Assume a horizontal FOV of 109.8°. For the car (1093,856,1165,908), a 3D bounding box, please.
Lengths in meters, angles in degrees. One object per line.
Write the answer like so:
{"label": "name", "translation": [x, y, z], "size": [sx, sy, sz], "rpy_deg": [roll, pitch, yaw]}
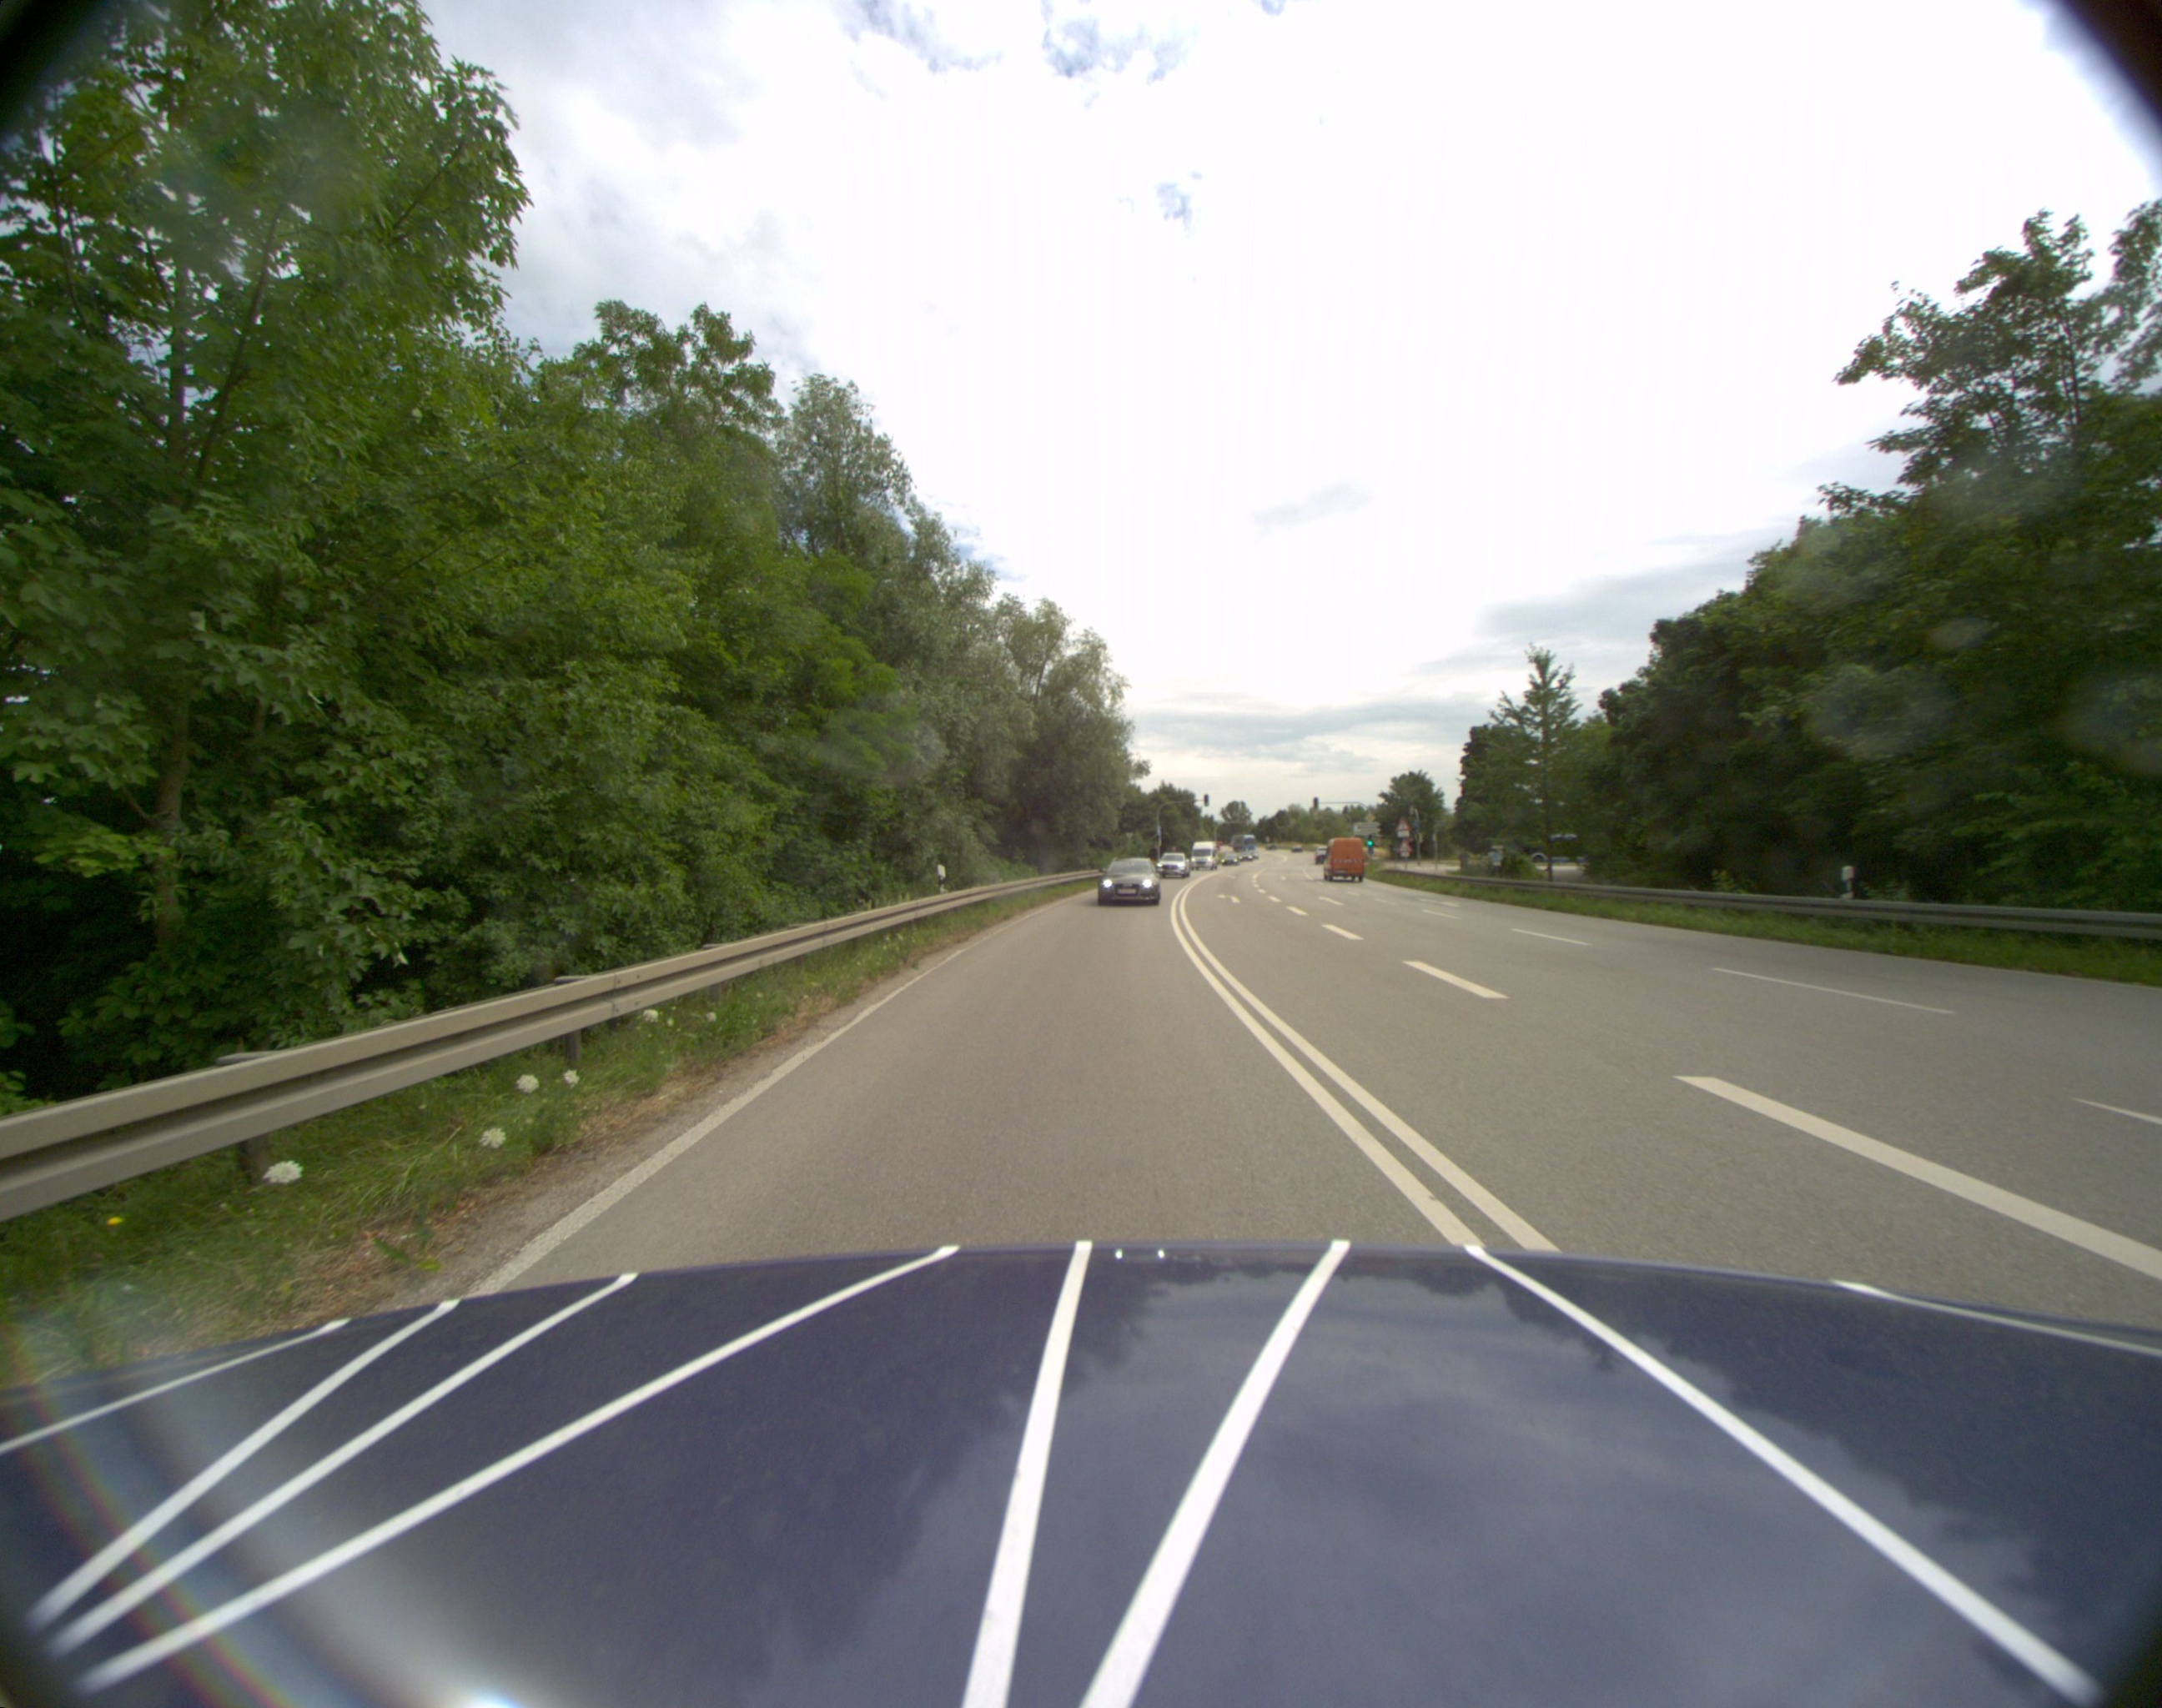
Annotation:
{"label": "car", "translation": [1.678, 0.841, 24.723], "size": [1.963, 1.447, 4.799], "rpy_deg": [0, 1, 8]}

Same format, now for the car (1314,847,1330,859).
{"label": "car", "translation": [34.078, -0.141, 107.270], "size": [1.859, 1.634, 4.744], "rpy_deg": [1, 0, 20]}

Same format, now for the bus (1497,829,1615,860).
{"label": "bus", "translation": [49.275, -1.010, 79.072], "size": [10.060, 3.029, 3.123], "rpy_deg": [-1, 1, 7]}

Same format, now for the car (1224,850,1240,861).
{"label": "car", "translation": [18.110, 0.185, 91.263], "size": [1.743, 1.317, 4.003], "rpy_deg": [2, 1, 10]}

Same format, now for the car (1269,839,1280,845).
{"label": "car", "translation": [47.275, -2.846, 185.562], "size": [1.744, 1.377, 3.999], "rpy_deg": [-2, 1, 0]}

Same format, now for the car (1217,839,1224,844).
{"label": "car", "translation": [46.666, -4.209, 254.910], "size": [1.744, 1.377, 4.000], "rpy_deg": [-3, 1, 3]}

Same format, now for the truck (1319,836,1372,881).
{"label": "truck", "translation": [16.419, 0.233, 47.533], "size": [2.319, 2.586, 6.028], "rpy_deg": [2, 1, 12]}

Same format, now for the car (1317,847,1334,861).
{"label": "car", "translation": [27.671, -0.012, 85.947], "size": [1.719, 1.489, 4.555], "rpy_deg": [0, 0, 19]}

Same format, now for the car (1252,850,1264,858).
{"label": "car", "translation": [29.354, -0.053, 126.215], "size": [1.743, 1.317, 4.003], "rpy_deg": [2, 1, 10]}

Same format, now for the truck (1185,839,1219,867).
{"label": "truck", "translation": [11.672, -0.155, 72.858], "size": [2.376, 2.579, 6.006], "rpy_deg": [0, 1, 17]}

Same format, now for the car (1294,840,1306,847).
{"label": "car", "translation": [45.676, -2.184, 158.490], "size": [1.743, 1.477, 4.201], "rpy_deg": [-1, 1, 5]}

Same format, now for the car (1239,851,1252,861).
{"label": "car", "translation": [24.610, 0.284, 113.812], "size": [1.742, 1.317, 4.004], "rpy_deg": [2, 1, 14]}

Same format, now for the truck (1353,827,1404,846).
{"label": "truck", "translation": [78.352, -4.651, 200.617], "size": [3.366, 4.303, 14.175], "rpy_deg": [-1, 4, -22]}

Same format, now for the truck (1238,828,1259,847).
{"label": "truck", "translation": [39.803, -3.919, 181.128], "size": [3.027, 4.325, 9.569], "rpy_deg": [0, 1, 1]}

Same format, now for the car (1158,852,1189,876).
{"label": "car", "translation": [6.164, 0.638, 50.376], "size": [1.825, 1.489, 4.227], "rpy_deg": [1, 1, 9]}
